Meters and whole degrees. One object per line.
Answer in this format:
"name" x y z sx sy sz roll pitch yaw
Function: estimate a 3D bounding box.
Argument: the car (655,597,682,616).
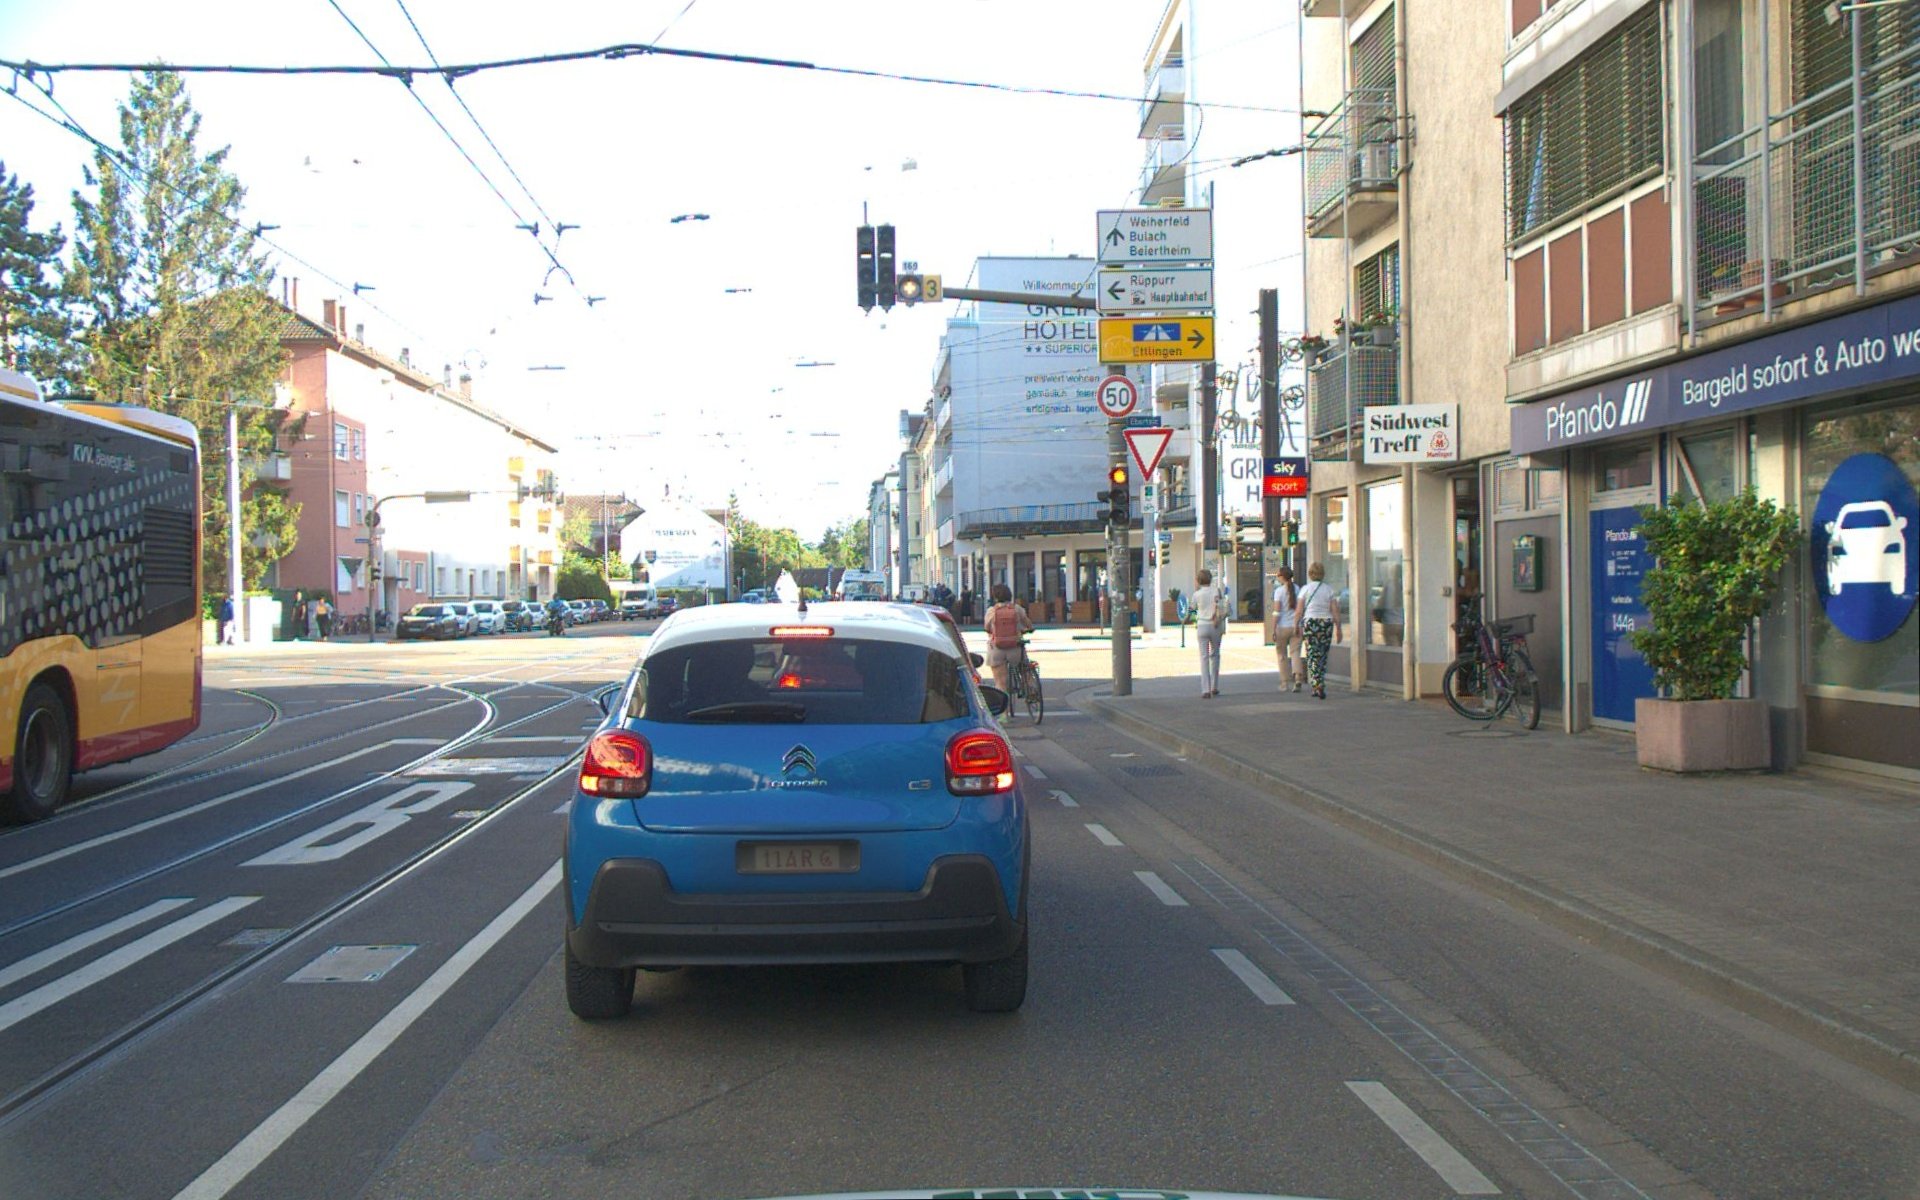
"car" -25.370 0.556 144.098 1.982 1.552 3.996 -1 0 -5

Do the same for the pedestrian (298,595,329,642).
"pedestrian" -24.060 0.672 61.541 0.826 1.720 0.737 -1 0 2

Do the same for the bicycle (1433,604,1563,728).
"bicycle" 5.108 0.596 15.804 0.519 1.091 1.809 -1 0 -4

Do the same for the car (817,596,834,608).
"car" -15.215 0.237 186.398 1.722 1.281 3.826 -1 0 -8

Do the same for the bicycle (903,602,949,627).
"bicycle" -1.362 0.598 67.025 1.835 0.973 0.702 -1 0 1

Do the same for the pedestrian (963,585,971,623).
"pedestrian" 0.282 0.176 70.148 0.279 1.583 0.304 -1 0 -10

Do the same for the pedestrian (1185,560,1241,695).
"pedestrian" 3.290 0.345 21.533 0.530 1.701 0.624 -3 2 -3

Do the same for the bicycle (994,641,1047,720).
"bicycle" 0.745 0.986 20.707 0.489 0.879 1.748 -1 0 -3

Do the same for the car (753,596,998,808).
"car" -0.619 0.711 13.626 1.703 1.445 3.999 -1 0 -1

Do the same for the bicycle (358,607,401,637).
"bicycle" -25.701 0.948 73.263 0.831 1.247 3.302 -1 0 -2

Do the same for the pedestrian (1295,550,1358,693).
"pedestrian" 4.508 0.259 20.349 0.530 1.701 0.650 -3 0 -3

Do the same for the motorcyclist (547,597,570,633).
"motorcyclist" -16.219 0.595 66.869 0.704 1.402 0.911 -1 0 -1

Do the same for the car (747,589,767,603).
"car" -22.949 -0.442 187.093 1.982 1.552 3.996 -1 0 -5

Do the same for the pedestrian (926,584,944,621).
"pedestrian" -1.088 0.104 72.346 0.637 1.583 0.490 -1 0 -23

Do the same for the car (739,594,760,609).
"car" -21.527 0.146 169.073 1.982 1.552 3.996 -1 0 -5

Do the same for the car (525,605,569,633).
"car" -24.265 1.085 97.291 1.874 1.523 3.996 -1 0 -5

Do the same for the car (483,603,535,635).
"car" -23.320 0.974 85.595 1.874 1.523 3.996 -1 0 -5

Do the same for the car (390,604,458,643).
"car" -22.146 0.947 68.481 1.874 1.458 3.995 -1 0 -6

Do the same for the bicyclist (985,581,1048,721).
"bicyclist" 0.684 0.608 20.292 0.711 1.674 0.790 -1 0 -1

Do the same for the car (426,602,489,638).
"car" -22.505 0.873 74.203 1.874 1.523 3.996 -1 0 -5

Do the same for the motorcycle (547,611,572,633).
"motorcycle" -16.226 0.887 67.024 0.603 0.879 1.670 -1 0 -1

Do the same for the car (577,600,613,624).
"car" -25.511 0.800 115.768 1.833 1.601 3.997 -1 0 -4

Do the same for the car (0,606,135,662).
"car" -27.985 1.026 51.131 4.329 1.601 1.842 -1 0 -24

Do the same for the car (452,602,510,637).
"car" -22.782 0.904 78.822 1.874 1.523 3.996 -1 0 -5

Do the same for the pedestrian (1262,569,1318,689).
"pedestrian" 4.369 0.375 21.933 0.530 1.534 0.611 -3 2 -3

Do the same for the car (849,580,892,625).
"car" -3.664 0.100 67.466 1.698 1.780 3.211 0 0 -4

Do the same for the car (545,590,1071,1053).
"car" -0.709 0.707 7.402 1.710 1.488 3.994 0 0 -7

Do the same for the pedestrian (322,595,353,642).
"pedestrian" -23.196 0.672 61.660 0.826 1.720 0.737 -1 0 2

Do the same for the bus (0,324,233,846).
"bus" -7.357 -0.080 10.844 2.686 3.217 7.565 -1 0 -8

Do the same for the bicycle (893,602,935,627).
"bicycle" -1.896 0.603 68.376 1.684 0.973 0.702 -1 0 1

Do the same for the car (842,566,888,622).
"car" -4.161 -0.245 72.374 1.954 2.366 3.997 0 0 -4

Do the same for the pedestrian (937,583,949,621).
"pedestrian" -0.715 0.081 69.784 0.482 1.583 0.383 -1 0 -4

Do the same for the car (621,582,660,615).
"car" -22.946 -0.096 118.984 2.164 2.290 4.672 -1 0 -5

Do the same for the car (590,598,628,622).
"car" -25.718 0.711 121.190 1.990 1.647 4.508 -1 0 -3

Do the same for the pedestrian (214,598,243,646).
"pedestrian" -25.593 0.755 57.868 0.841 1.654 0.509 -1 0 -35

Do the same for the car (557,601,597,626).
"car" -24.467 0.837 105.692 1.874 1.523 3.996 -1 0 -5

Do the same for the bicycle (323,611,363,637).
"bicycle" -25.083 0.973 67.300 0.718 0.968 2.596 -1 0 -2

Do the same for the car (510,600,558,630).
"car" -23.602 0.808 91.729 1.874 1.523 3.996 -1 0 -5

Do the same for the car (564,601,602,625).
"car" -25.193 0.847 110.680 1.874 1.523 3.996 -1 0 -5

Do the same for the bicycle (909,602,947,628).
"bicycle" -1.257 0.597 65.967 1.473 0.973 0.702 -1 0 1
